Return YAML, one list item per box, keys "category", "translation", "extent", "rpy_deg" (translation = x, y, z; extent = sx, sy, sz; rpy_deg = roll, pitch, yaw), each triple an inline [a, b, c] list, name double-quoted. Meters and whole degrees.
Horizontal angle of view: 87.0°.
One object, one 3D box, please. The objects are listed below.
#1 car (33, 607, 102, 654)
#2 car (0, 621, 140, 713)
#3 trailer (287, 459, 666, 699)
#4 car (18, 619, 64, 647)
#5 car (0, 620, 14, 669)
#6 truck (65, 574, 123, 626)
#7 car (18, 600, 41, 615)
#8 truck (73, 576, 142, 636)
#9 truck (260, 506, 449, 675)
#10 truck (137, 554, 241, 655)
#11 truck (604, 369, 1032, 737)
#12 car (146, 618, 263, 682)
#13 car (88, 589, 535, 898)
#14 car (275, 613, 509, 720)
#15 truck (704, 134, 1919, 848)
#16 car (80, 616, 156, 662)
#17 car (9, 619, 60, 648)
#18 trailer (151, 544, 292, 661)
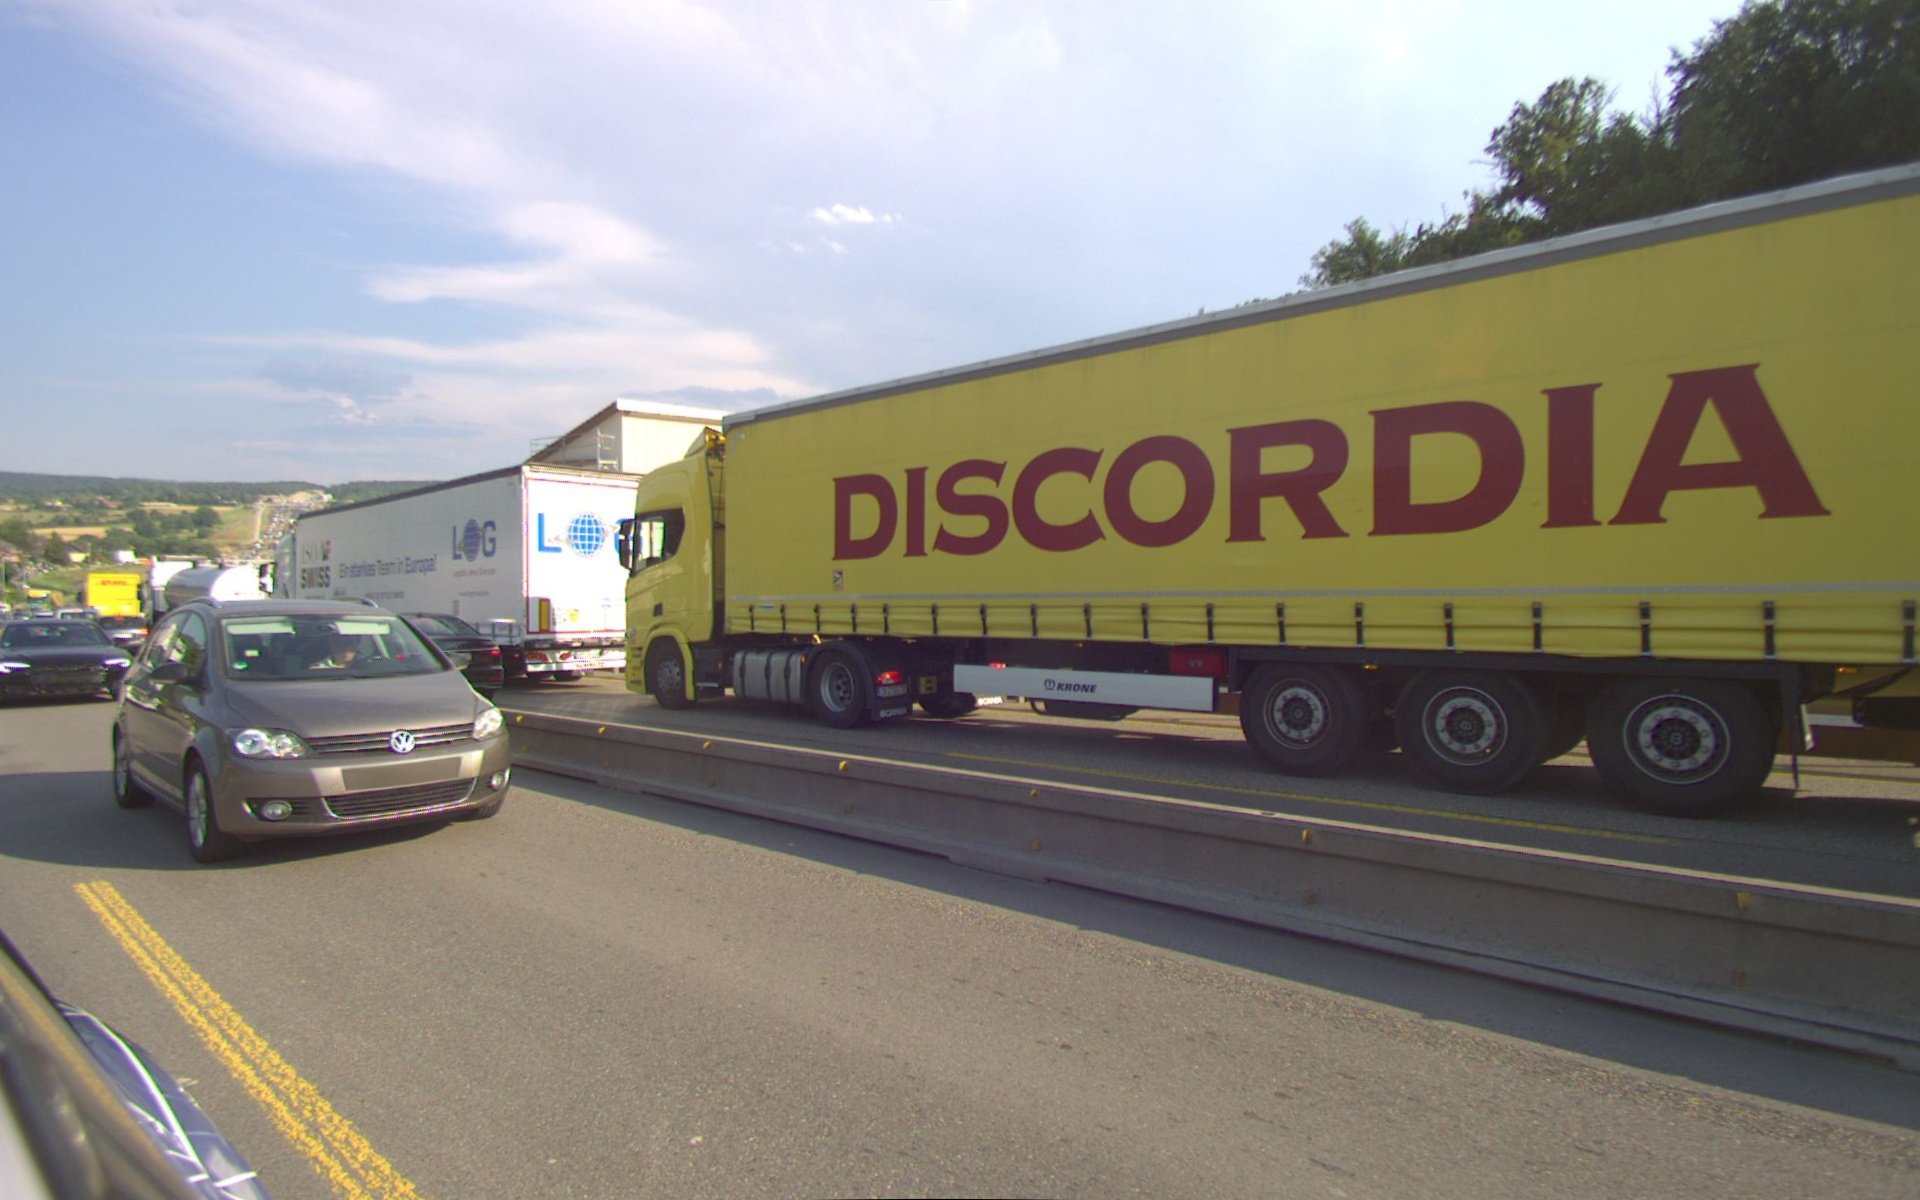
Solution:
- category: "car"
  translation: [-38.555, 1.280, 43.686]
  extent: [4.000, 1.925, 1.842]
  rpy_deg: [-1, -1, 43]
- category: "car"
  translation: [-15.854, 1.084, 17.672]
  extent: [4.000, 1.409, 1.842]
  rpy_deg: [-1, -1, 43]
- category: "trailer"
  translation: [-11.644, -0.271, 22.901]
  extent: [13.970, 4.066, 2.826]
  rpy_deg: [-1, -1, 43]
- category: "car"
  translation: [-54.624, 1.946, 60.137]
  extent: [4.000, 1.541, 1.706]
  rpy_deg: [-1, 0, 43]
- category: "car"
  translation: [-29.641, 1.367, 30.324]
  extent: [4.001, 1.409, 1.675]
  rpy_deg: [-2, 0, 44]
- category: "truck"
  translation: [-68.439, 0.037, 79.874]
  extent: [2.859, 3.913, 9.496]
  rpy_deg: [1, -1, -44]
- category: "car"
  translation: [-146.232, 1.208, 159.057]
  extent: [4.748, 2.015, 1.800]
  rpy_deg: [-3, -5, 38]
- category: "truck"
  translation: [-57.505, 0.397, 68.185]
  extent: [2.859, 3.738, 9.496]
  rpy_deg: [1, -1, -44]
- category: "truck"
  translation: [-16.491, -0.185, 27.418]
  extent: [6.101, 4.066, 2.813]
  rpy_deg: [-1, -1, 43]
- category: "truck"
  translation: [-32.490, 0.219, 42.558]
  extent: [6.204, 3.917, 2.570]
  rpy_deg: [-1, -1, 44]
- category: "truck"
  translation: [-2.217, -0.485, 14.350]
  extent: [6.097, 4.119, 2.685]
  rpy_deg: [-1, -1, 41]
- category: "car"
  translation: [-19.136, 1.195, 25.557]
  extent: [4.566, 1.440, 1.638]
  rpy_deg: [-1, 0, 44]
- category: "car"
  translation: [-4.788, 0.758, 7.210]
  extent: [4.099, 1.586, 1.666]
  rpy_deg: [-1, 0, 42]
- category: "car"
  translation: [-9.147, 0.958, 16.122]
  extent: [4.671, 1.436, 1.789]
  rpy_deg: [-1, 0, 41]
- category: "truck"
  translation: [2.764, -0.563, 10.013]
  extent: [14.145, 4.119, 2.679]
  rpy_deg: [-1, -1, 41]
- category: "car"
  translation: [-30.084, 1.348, 36.146]
  extent: [3.690, 1.521, 1.639]
  rpy_deg: [-1, -1, 43]
- category: "car"
  translation: [-48.854, 1.771, 53.377]
  extent: [1.773, 1.423, 4.002]
  rpy_deg: [4, -3, -45]
- category: "trailer"
  translation: [-28.350, 0.144, 38.584]
  extent: [10.579, 3.910, 2.568]
  rpy_deg: [-1, -1, 44]
